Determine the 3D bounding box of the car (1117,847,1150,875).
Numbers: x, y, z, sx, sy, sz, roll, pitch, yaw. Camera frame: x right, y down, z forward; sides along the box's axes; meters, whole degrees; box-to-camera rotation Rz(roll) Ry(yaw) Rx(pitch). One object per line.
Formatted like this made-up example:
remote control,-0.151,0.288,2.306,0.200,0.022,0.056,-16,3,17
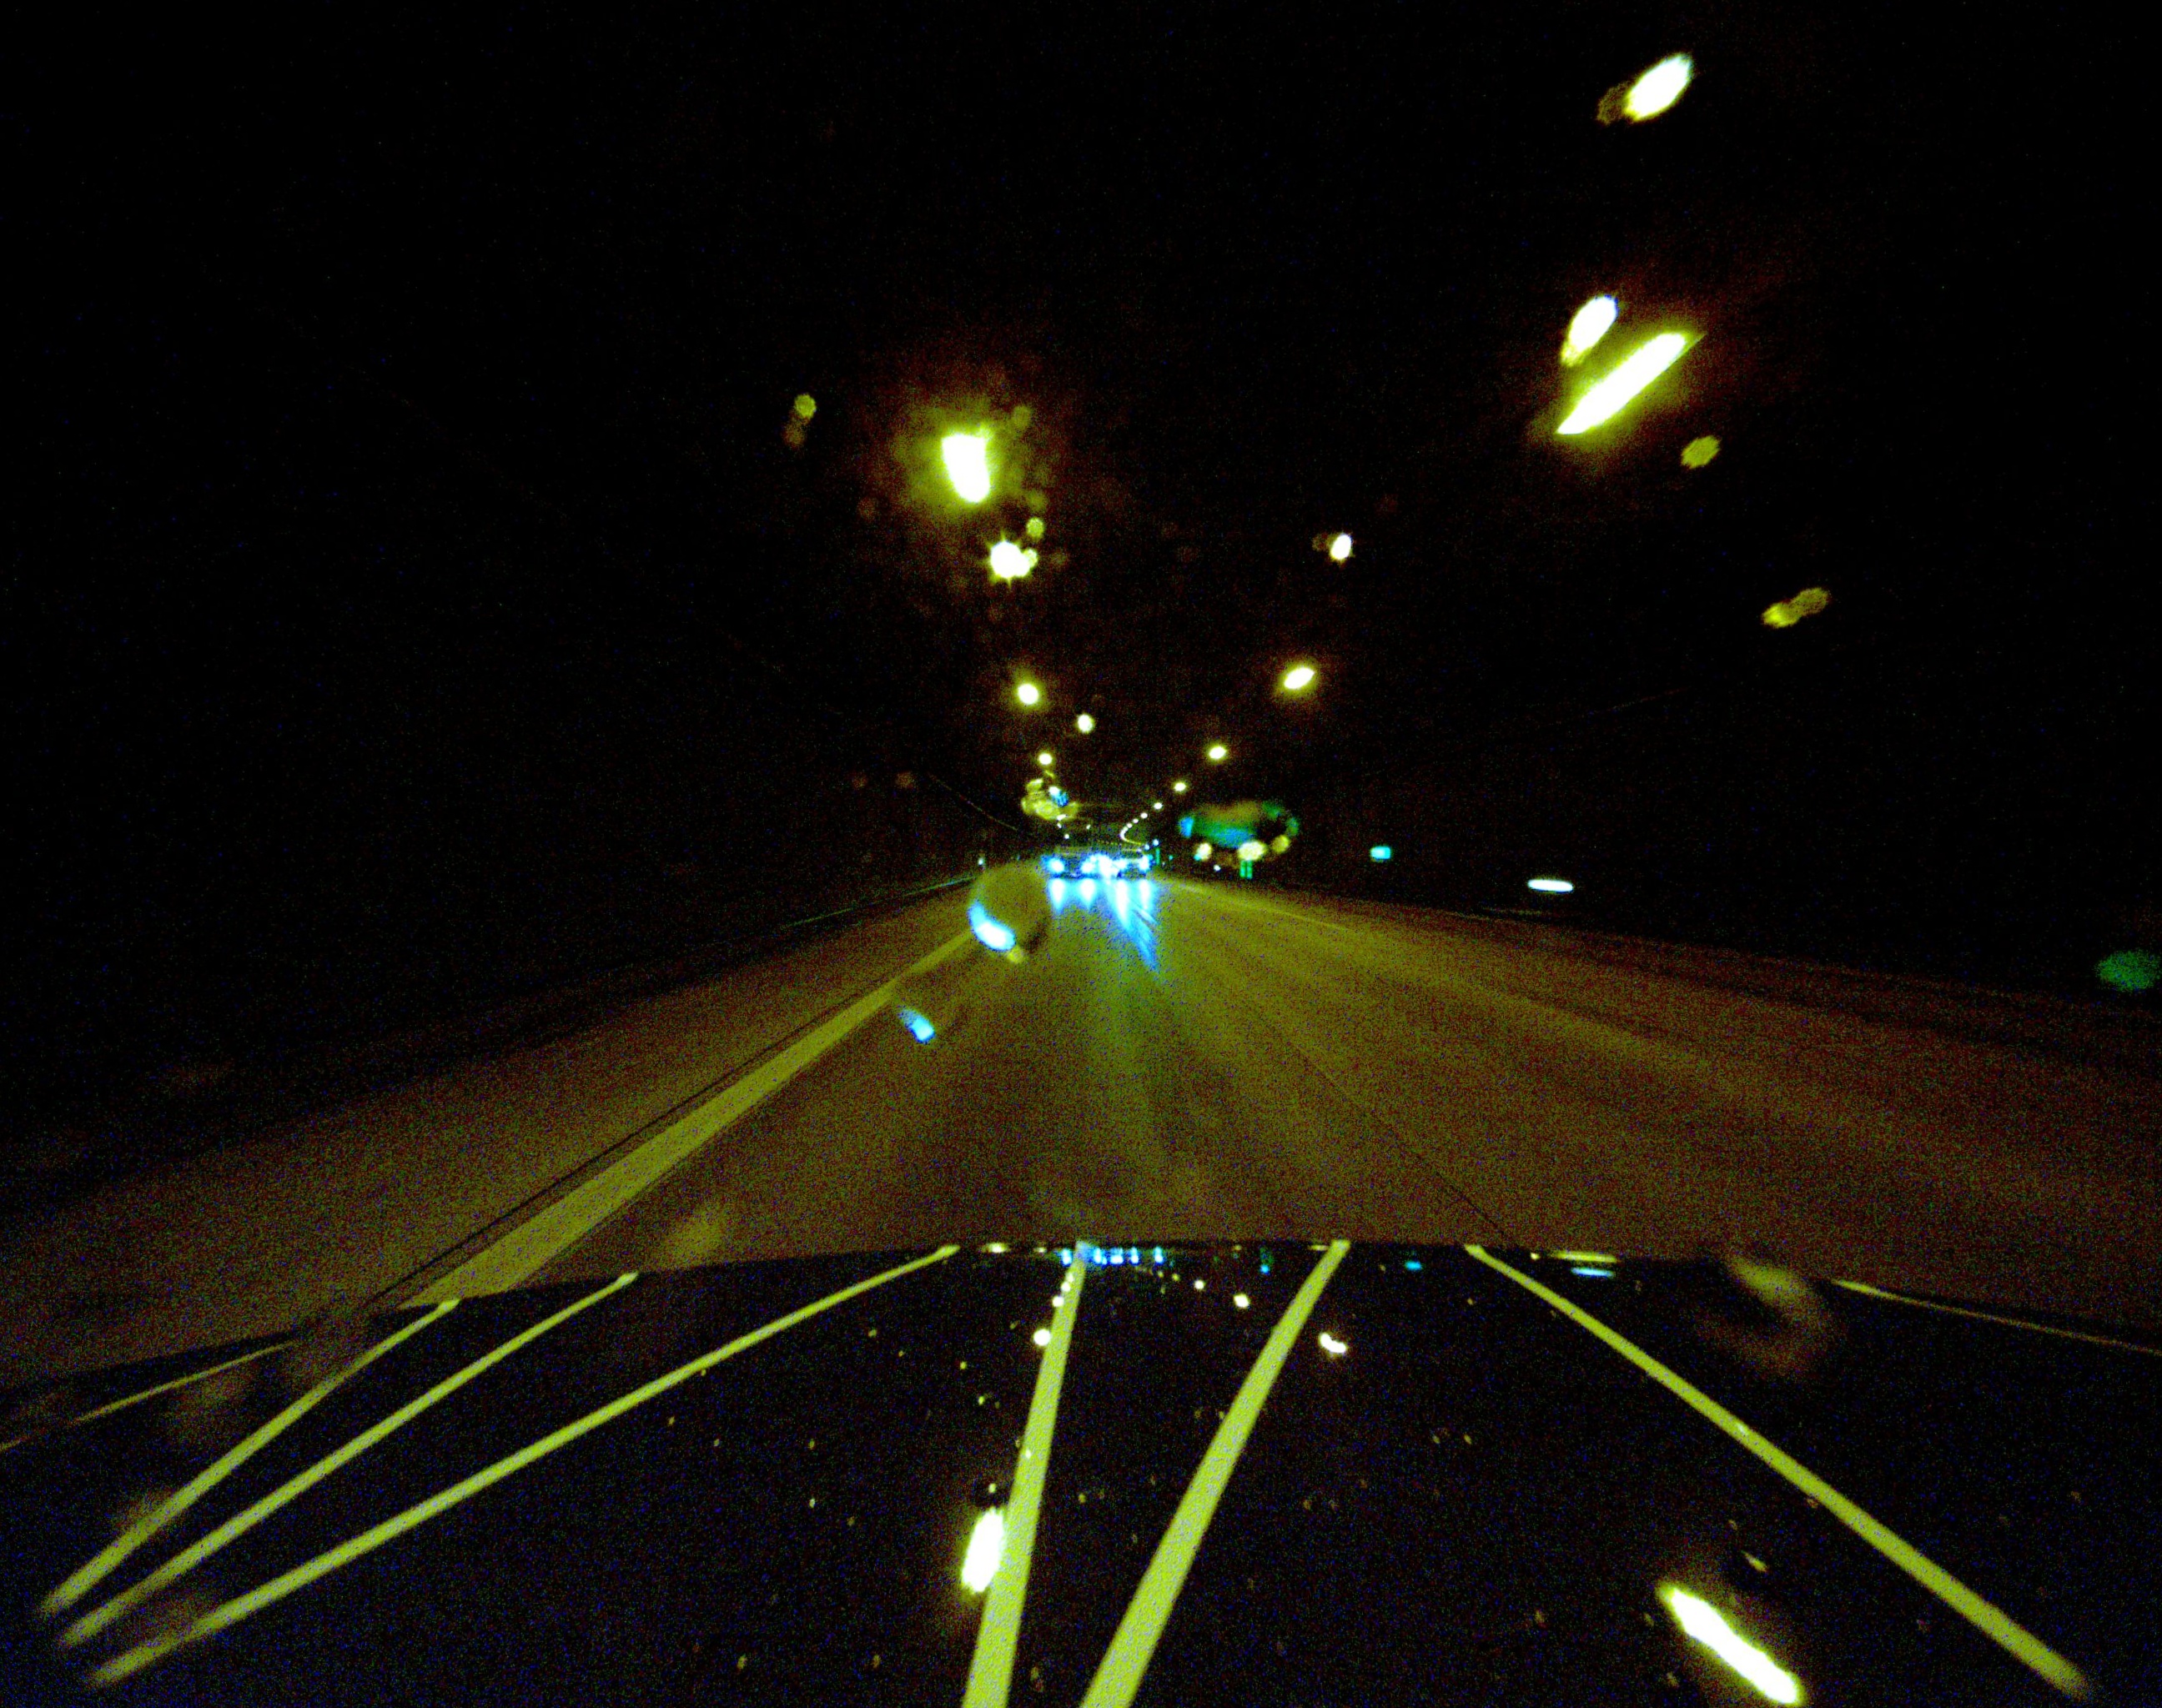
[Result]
car,3.650,0.456,53.509,1.998,1.890,4.000,1,0,0

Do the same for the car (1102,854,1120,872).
car,3.591,1.026,89.333,1.998,1.890,4.001,-2,0,3

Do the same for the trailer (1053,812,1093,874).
trailer,-0.682,-0.778,59.009,2.627,4.139,13.998,1,0,-1

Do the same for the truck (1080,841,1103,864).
truck,1.920,-0.253,134.947,2.899,3.819,9.002,2,1,8

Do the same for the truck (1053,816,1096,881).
truck,-0.490,-0.398,52.319,2.653,4.139,6.003,2,1,-2
